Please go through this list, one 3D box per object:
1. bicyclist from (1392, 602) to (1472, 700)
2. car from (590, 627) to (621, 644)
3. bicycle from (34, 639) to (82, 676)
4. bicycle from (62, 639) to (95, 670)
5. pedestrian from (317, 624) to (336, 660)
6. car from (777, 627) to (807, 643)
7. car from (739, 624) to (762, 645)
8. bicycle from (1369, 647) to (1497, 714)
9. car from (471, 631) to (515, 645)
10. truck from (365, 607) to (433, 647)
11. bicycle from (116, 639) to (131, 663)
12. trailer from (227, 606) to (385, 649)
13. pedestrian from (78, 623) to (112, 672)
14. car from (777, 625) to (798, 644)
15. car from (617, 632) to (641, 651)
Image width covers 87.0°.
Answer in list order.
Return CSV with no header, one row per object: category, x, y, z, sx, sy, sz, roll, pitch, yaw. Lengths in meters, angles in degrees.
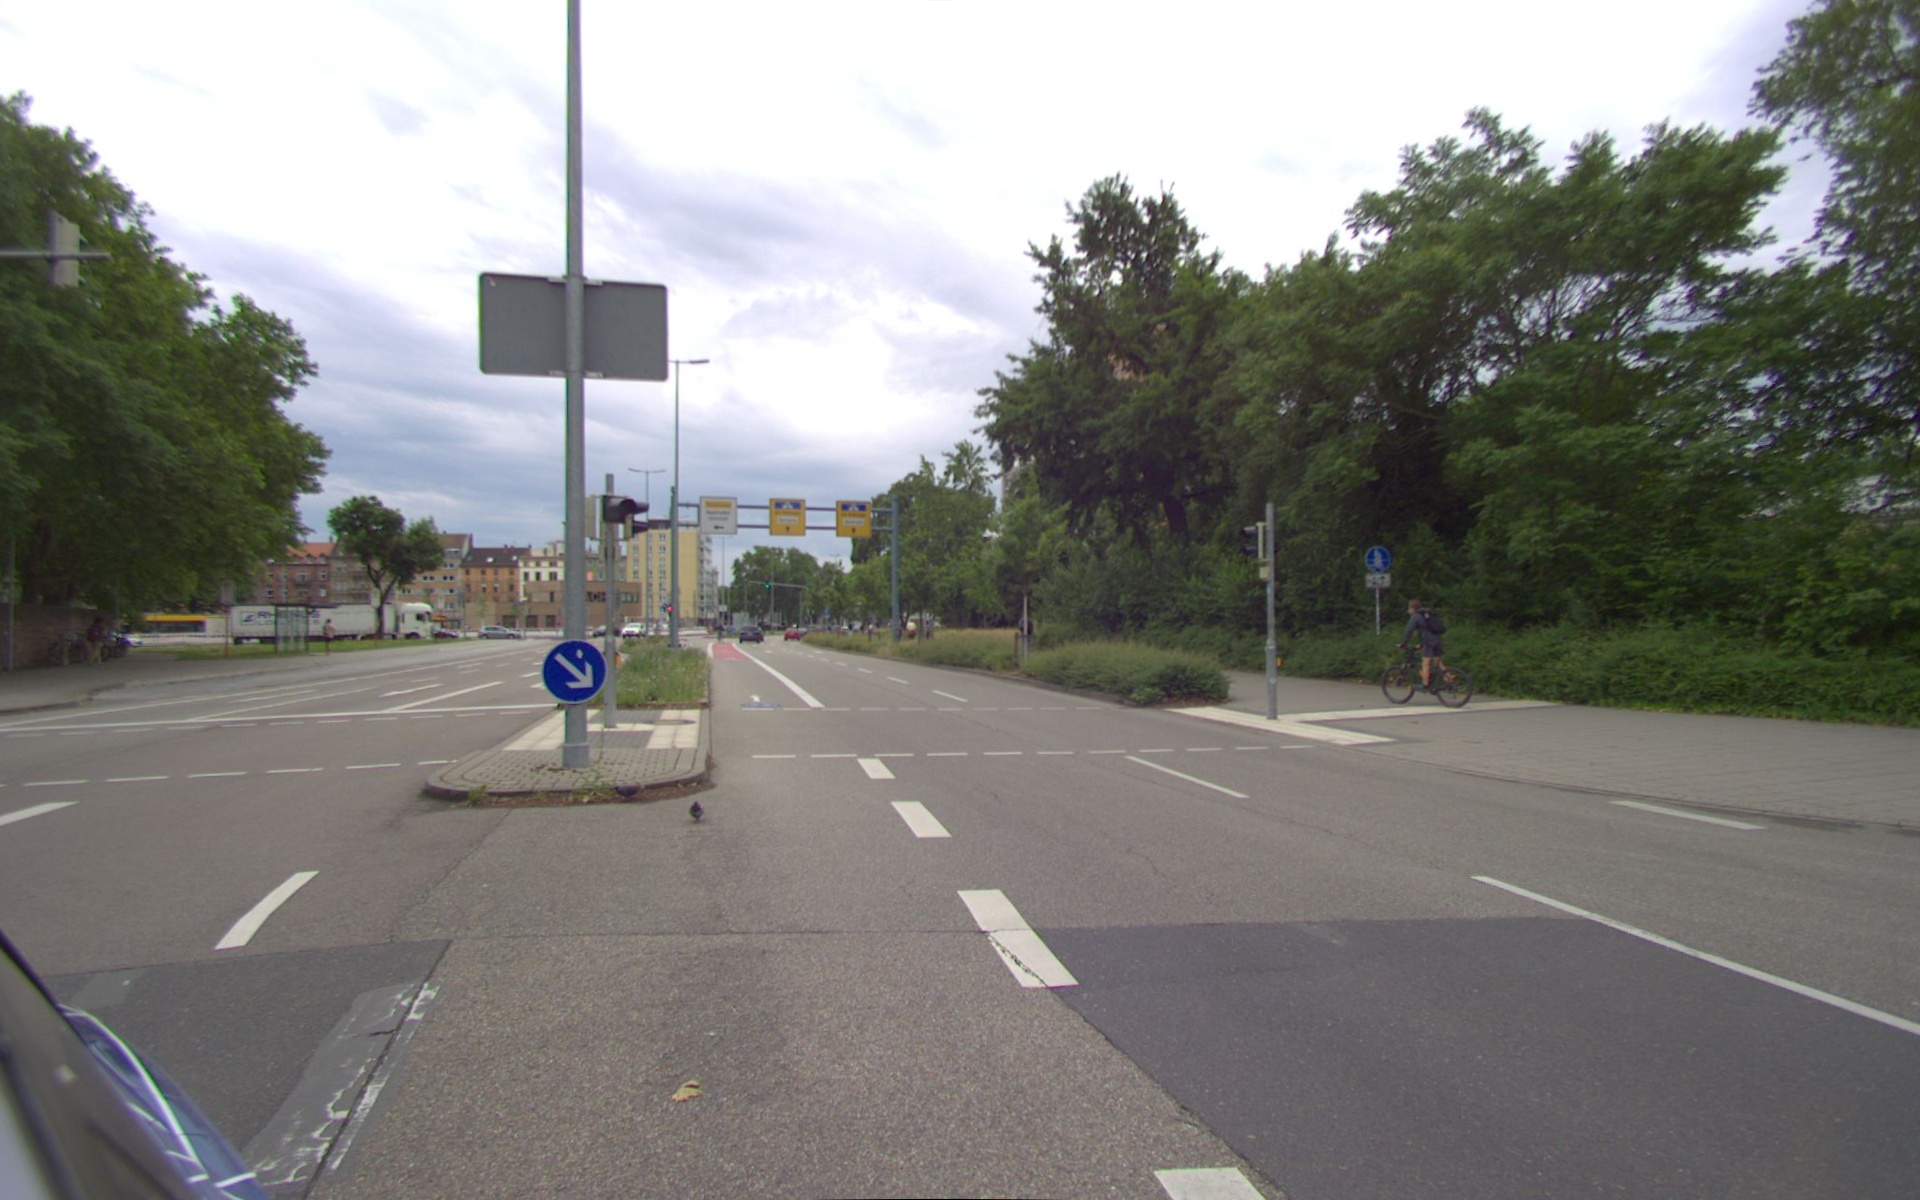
bicyclist,8.178,0.866,17.561,0.754,1.620,0.926,-2,-1,-32
car,-41.880,4.203,119.666,1.974,2.029,3.995,0,-2,4
bicycle,-32.276,2.043,36.231,0.654,1.275,2.551,3,-3,-28
bicycle,-34.374,2.110,39.479,0.499,1.157,2.254,3,-3,-31
pedestrian,-31.226,2.068,49.916,0.631,1.719,0.710,0,-3,-18
car,-20.731,4.296,124.637,1.968,2.029,4.007,1,-2,-39
car,-18.717,3.094,90.558,1.967,1.807,4.009,0,-2,-11
bicycle,8.184,1.364,17.586,0.770,1.045,1.870,-2,-1,-32
car,-48.475,3.960,105.208,3.931,1.386,2.006,0,-2,-18
truck,-54.349,2.565,98.167,5.357,3.852,2.854,0,-1,-18
bicycle,-41.600,2.535,50.349,0.500,1.157,2.252,3,-4,-38
trailer,-61.629,2.553,95.761,12.162,3.852,2.854,0,-1,-18
pedestrian,-31.366,1.712,36.722,0.777,1.773,0.775,1,-2,-30
car,-18.469,3.704,108.527,1.969,2.029,4.004,0,-2,-5
car,-34.447,4.292,105.505,2.013,1.710,5.389,-2,0,-15
